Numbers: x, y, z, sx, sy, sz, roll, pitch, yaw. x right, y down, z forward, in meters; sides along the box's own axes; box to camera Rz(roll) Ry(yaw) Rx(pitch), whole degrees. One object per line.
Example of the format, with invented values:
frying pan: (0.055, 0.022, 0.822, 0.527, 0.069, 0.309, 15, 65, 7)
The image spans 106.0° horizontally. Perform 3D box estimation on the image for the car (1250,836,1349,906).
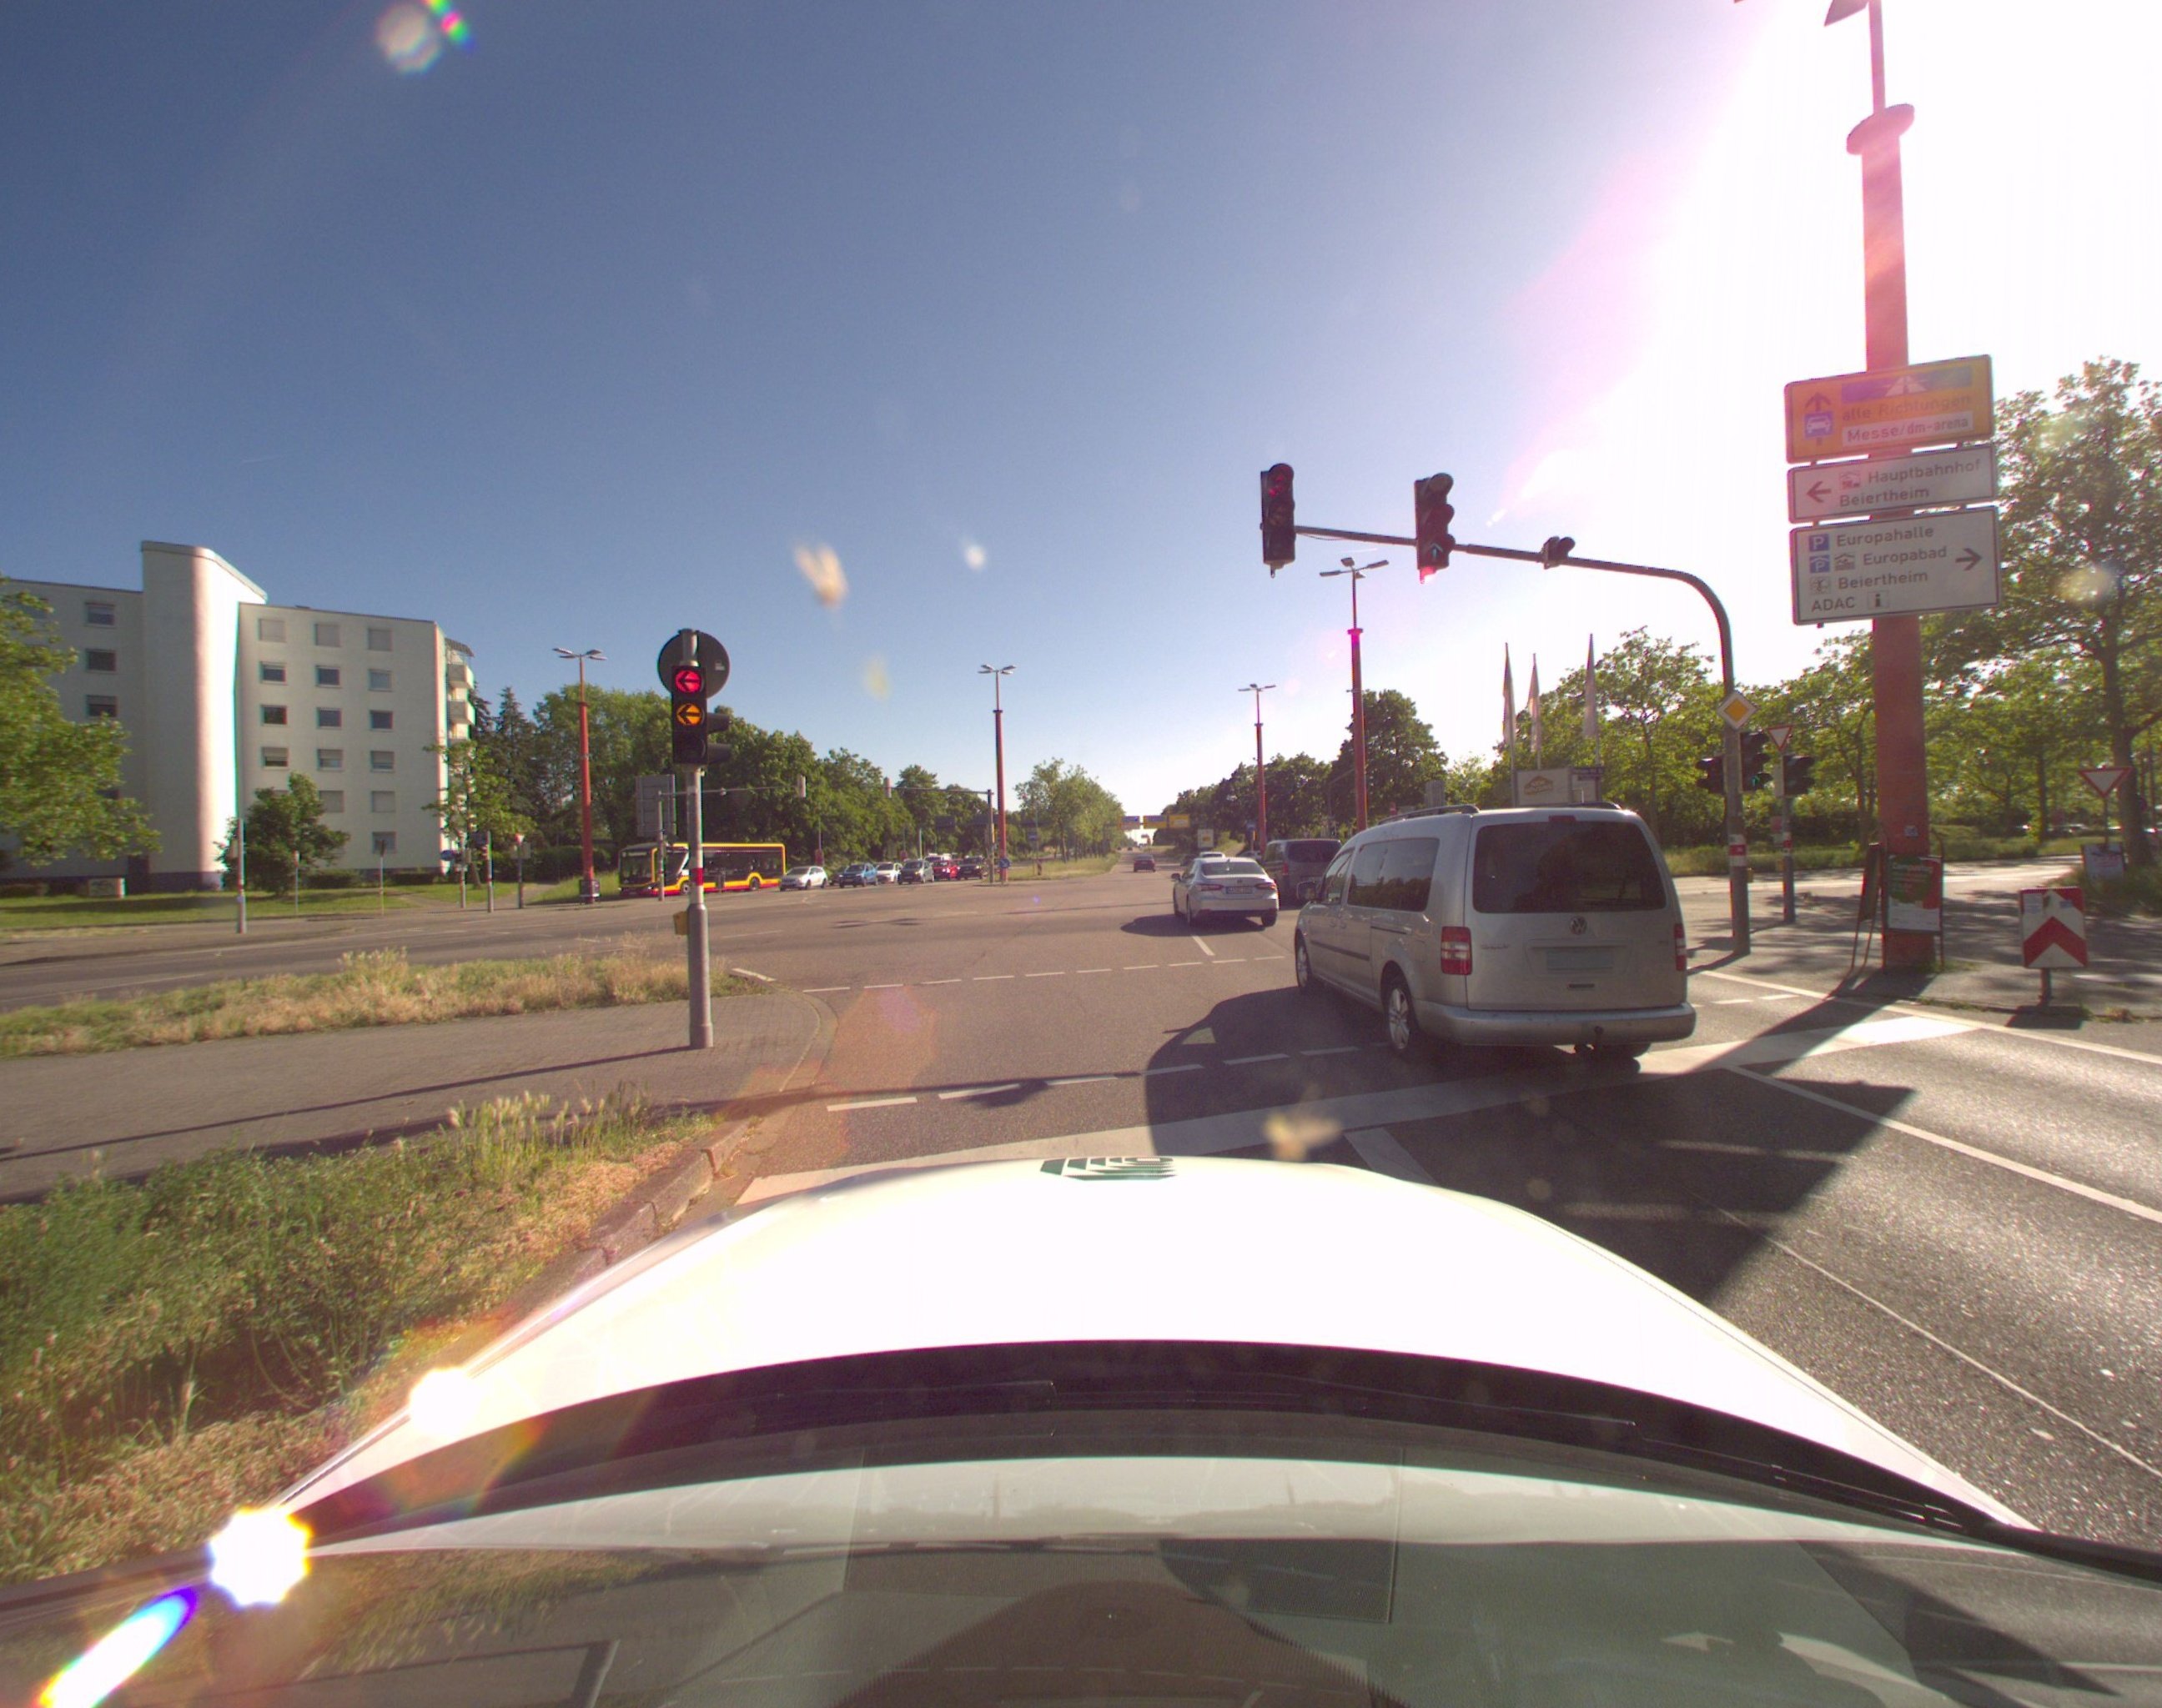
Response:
car: (6.530, 0.461, 24.951, 1.797, 1.852, 5.106, -2, 0, 2)

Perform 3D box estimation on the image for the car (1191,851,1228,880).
car: (7.475, 0.644, 47.699, 1.709, 1.608, 3.849, 0, -1, 2)

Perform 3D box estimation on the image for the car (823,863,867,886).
car: (-17.552, 1.504, 60.675, 1.877, 1.513, 4.003, -3, 0, 3)

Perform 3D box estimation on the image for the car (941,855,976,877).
car: (-9.742, 0.934, 65.016, 1.893, 1.630, 4.003, -1, 0, 3)

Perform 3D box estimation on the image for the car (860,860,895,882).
car: (-16.795, 1.385, 67.360, 1.772, 1.652, 3.973, -4, -1, 0)

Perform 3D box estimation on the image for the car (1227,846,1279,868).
car: (13.760, 0.261, 65.346, 1.774, 1.635, 4.260, -2, 0, -27)

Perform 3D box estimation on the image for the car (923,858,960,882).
car: (-10.062, 1.126, 59.019, 1.869, 1.552, 4.000, -5, 0, 0)

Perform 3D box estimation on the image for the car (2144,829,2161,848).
car: (92.367, -1.306, 68.703, 4.131, 1.517, 1.857, 0, -1, -15)

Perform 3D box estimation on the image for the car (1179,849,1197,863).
car: (12.786, 0.296, 97.441, 1.757, 1.635, 4.299, 0, -1, 1)

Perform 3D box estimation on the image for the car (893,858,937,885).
car: (-10.690, 1.080, 52.692, 1.867, 1.550, 4.029, -3, 0, 2)

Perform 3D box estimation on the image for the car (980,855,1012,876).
car: (-6.673, 0.863, 64.162, 1.878, 1.543, 4.002, -3, 0, 2)

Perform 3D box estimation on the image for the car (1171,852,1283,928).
car: (3.159, 0.734, 18.481, 1.798, 1.493, 4.683, 0, 0, 1)

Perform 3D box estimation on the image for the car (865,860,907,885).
car: (-13.768, 1.288, 57.758, 1.895, 1.555, 4.000, -3, 0, 0)

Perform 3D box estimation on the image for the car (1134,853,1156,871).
car: (5.403, 0.680, 68.952, 1.756, 1.441, 4.299, 0, 0, 4)

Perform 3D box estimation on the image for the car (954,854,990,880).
car: (-7.522, 0.859, 56.698, 1.787, 1.626, 4.144, -3, 0, 1)

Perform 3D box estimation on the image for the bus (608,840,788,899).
bus: (-23.785, 0.918, 51.865, 2.625, 3.261, 12.590, -1, -1, 17)

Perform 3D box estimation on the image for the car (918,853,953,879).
car: (-12.718, 1.001, 71.297, 1.954, 2.155, 5.083, -2, 0, 1)

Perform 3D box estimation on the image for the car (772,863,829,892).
car: (-17.639, 1.425, 51.412, 1.869, 1.652, 4.222, -3, -1, 3)

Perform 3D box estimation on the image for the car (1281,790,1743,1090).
car: (3.220, 0.548, 7.327, 1.798, 1.821, 4.588, -1, -1, 1)

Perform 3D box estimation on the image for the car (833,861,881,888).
car: (-14.132, 1.287, 51.611, 1.794, 1.515, 3.861, -3, 0, 2)
